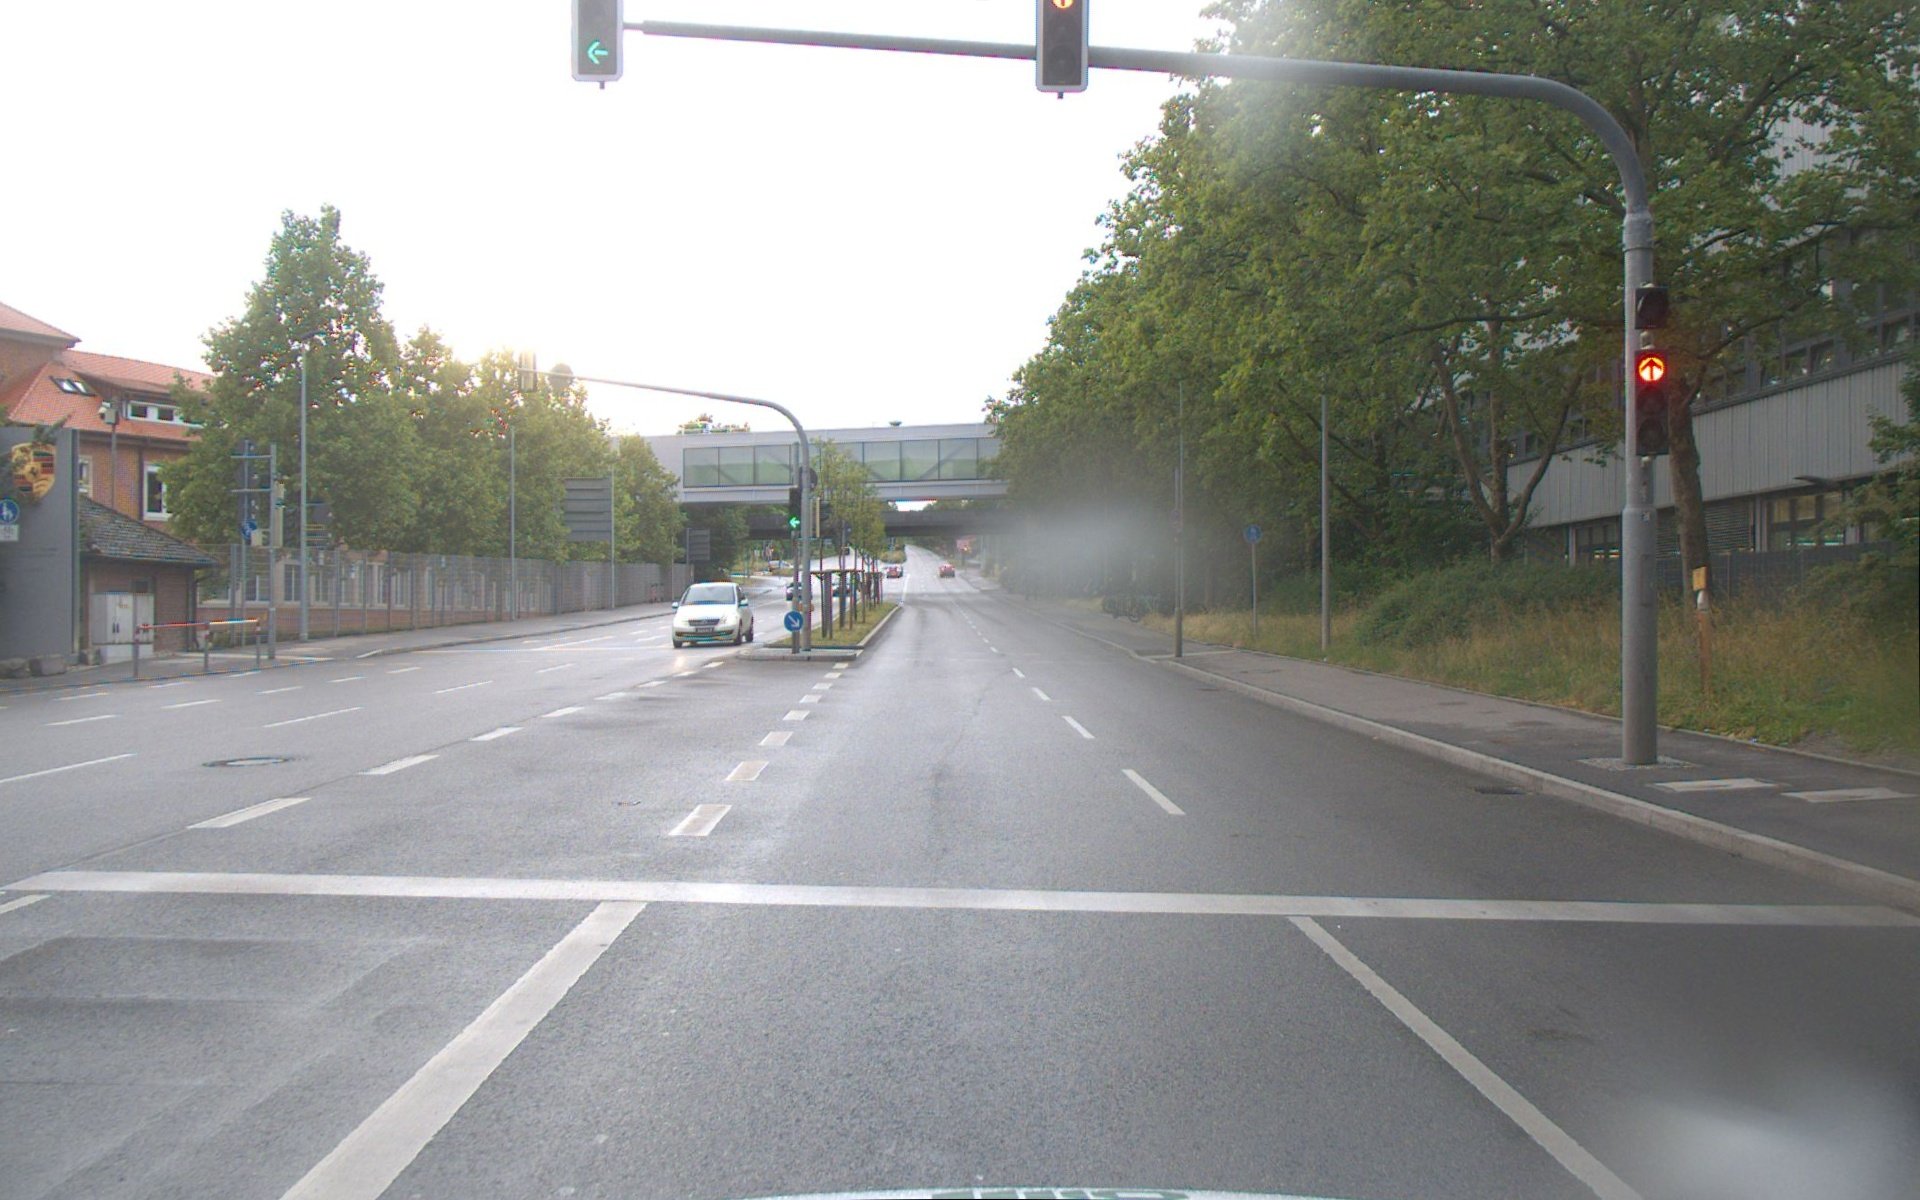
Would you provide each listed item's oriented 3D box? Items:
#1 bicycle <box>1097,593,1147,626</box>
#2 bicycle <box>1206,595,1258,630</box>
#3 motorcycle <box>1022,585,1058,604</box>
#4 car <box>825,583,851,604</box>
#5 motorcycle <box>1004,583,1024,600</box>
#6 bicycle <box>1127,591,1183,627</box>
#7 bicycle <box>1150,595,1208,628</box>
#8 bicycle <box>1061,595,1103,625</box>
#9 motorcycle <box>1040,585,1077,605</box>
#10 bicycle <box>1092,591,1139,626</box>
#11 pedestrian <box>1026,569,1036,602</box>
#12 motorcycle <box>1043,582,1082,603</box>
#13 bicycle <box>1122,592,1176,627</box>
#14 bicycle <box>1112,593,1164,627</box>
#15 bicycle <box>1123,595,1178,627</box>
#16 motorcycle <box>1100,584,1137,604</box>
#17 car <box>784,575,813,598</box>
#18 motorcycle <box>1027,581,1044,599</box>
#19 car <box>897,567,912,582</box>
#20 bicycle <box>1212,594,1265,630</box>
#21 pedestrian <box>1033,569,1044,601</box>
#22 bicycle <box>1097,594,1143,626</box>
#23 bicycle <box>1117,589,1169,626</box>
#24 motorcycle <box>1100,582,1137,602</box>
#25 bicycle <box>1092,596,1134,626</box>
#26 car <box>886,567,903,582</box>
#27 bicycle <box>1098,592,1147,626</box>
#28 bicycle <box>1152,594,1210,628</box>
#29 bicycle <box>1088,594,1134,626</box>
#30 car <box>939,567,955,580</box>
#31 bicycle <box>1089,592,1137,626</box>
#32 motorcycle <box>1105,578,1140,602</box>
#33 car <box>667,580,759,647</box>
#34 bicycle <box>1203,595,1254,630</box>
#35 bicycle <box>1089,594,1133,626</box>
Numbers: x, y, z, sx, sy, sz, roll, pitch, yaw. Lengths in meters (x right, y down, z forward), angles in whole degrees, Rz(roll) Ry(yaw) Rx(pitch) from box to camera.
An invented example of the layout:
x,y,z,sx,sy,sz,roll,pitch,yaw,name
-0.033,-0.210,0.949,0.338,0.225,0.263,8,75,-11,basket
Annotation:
x,y,z,sx,sy,sz,roll,pitch,yaw,name
6.602,0.396,67.468,1.949,1.263,0.541,2,-1,0,bicycle
11.006,0.512,66.955,1.949,1.352,0.576,2,-1,0,bicycle
5.305,-0.354,110.139,2.318,1.223,0.723,-1,0,7,motorcycle
-9.994,-0.537,135.781,1.839,1.653,3.778,-1,0,-1,car
4.222,-0.680,129.732,0.778,1.334,2.364,-1,0,-18,motorcycle
7.088,0.335,60.192,1.949,1.237,0.541,2,-1,0,bicycle
7.771,0.402,58.740,1.949,1.114,0.541,2,-1,0,bicycle
5.803,0.466,78.668,1.923,1.352,0.654,2,-1,0,bicycle
6.295,-0.337,105.844,2.318,1.223,0.723,-1,0,7,motorcycle
6.741,0.360,71.861,1.949,1.455,0.723,2,-1,0,bicycle
4.531,-0.929,105.658,0.609,2.049,0.605,-1,0,-1,pedestrian
6.312,-0.479,101.728,2.318,1.223,0.723,-1,0,7,motorcycle
7.130,0.355,62.382,1.949,1.255,0.541,2,-1,0,bicycle
7.020,0.382,65.150,1.949,1.263,0.541,2,-1,0,bicycle
7.118,0.413,61.799,1.949,1.114,0.541,2,-1,0,bicycle
10.017,-0.377,104.579,2.318,1.223,0.723,-1,0,7,motorcycle
-12.106,-1.001,124.120,1.839,1.653,3.778,-1,0,-1,car
5.680,-0.744,124.726,0.775,1.334,2.371,-1,0,-9,motorcycle
-7.269,-3.336,217.688,1.846,1.792,3.968,2,-1,0,car
11.038,0.495,65.527,1.949,1.352,0.576,2,-1,0,bicycle
4.971,-0.952,105.011,0.609,2.049,0.605,-1,0,-1,pedestrian
7.026,0.433,72.718,1.949,1.352,0.576,2,-1,0,bicycle
7.123,0.309,64.460,1.949,1.364,0.541,2,-1,0,bicycle
10.152,-0.480,105.659,2.318,1.223,0.723,-1,0,7,motorcycle
7.366,0.531,79.572,1.923,1.352,0.654,2,-1,0,bicycle
-8.338,-3.268,210.993,1.953,1.792,3.999,2,-1,0,car
6.818,0.396,69.376,1.949,1.352,0.576,2,-1,0,bicycle
7.776,0.395,58.172,1.949,1.114,0.541,2,-1,0,bicycle
6.698,0.442,73.425,1.949,1.352,0.576,2,-1,0,bicycle
-1.635,-3.301,207.157,1.837,1.523,4.067,2,-1,0,car
6.492,0.394,70.181,1.949,1.352,0.576,2,-1,0,bicycle
10.948,-0.670,111.416,2.318,1.502,0.723,-1,0,7,motorcycle
-6.414,0.318,43.213,1.839,1.653,3.778,-1,0,-1,car
10.977,0.519,67.579,1.949,1.352,0.576,2,-1,0,bicycle
6.822,0.450,74.664,1.920,1.352,0.576,2,-1,0,bicycle
